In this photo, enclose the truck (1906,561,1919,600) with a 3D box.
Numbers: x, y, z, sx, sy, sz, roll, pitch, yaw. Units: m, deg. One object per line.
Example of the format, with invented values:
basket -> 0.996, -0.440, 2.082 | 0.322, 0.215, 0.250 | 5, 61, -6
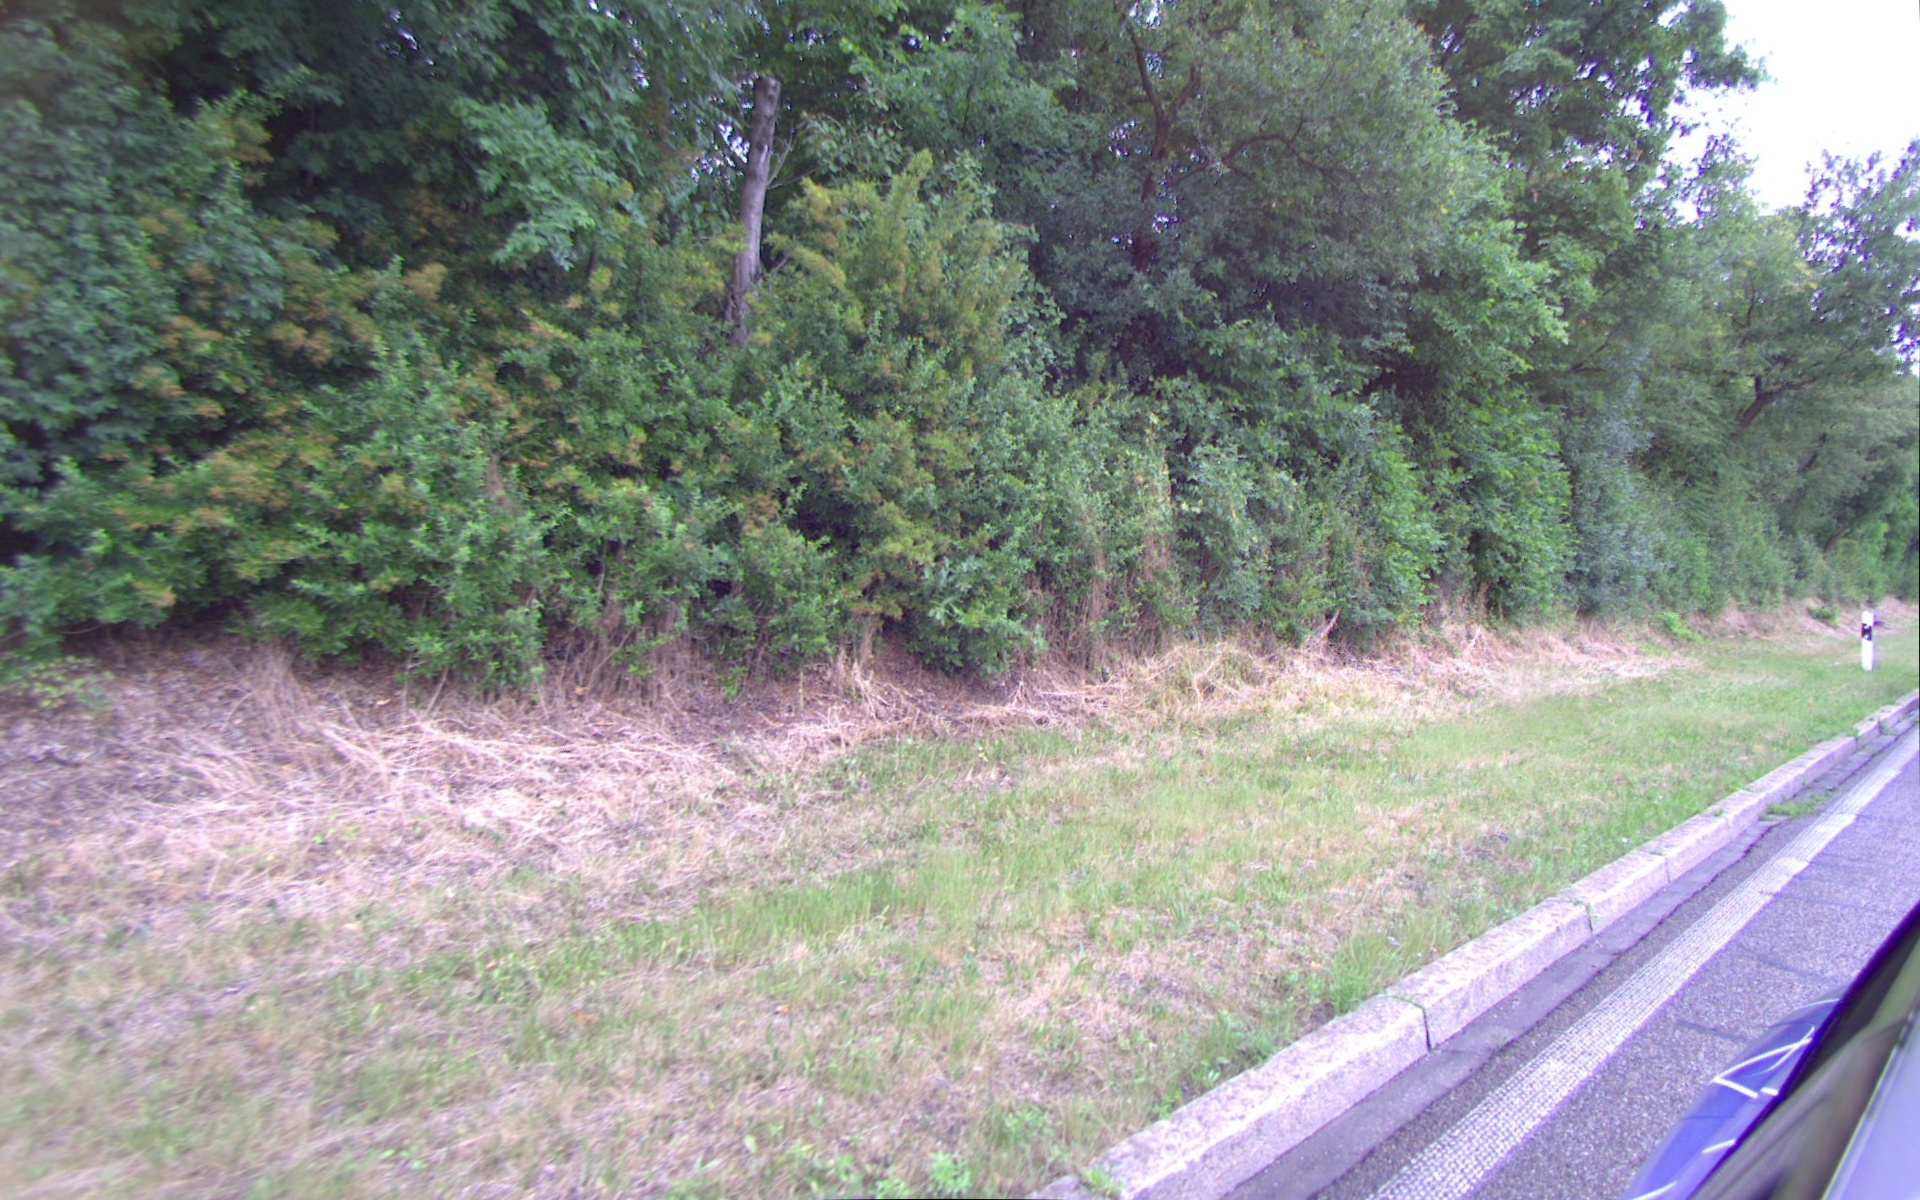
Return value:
truck -> 131.059, -2.573, 137.331 | 2.835, 5.163, 13.921 | 1, 2, 39
